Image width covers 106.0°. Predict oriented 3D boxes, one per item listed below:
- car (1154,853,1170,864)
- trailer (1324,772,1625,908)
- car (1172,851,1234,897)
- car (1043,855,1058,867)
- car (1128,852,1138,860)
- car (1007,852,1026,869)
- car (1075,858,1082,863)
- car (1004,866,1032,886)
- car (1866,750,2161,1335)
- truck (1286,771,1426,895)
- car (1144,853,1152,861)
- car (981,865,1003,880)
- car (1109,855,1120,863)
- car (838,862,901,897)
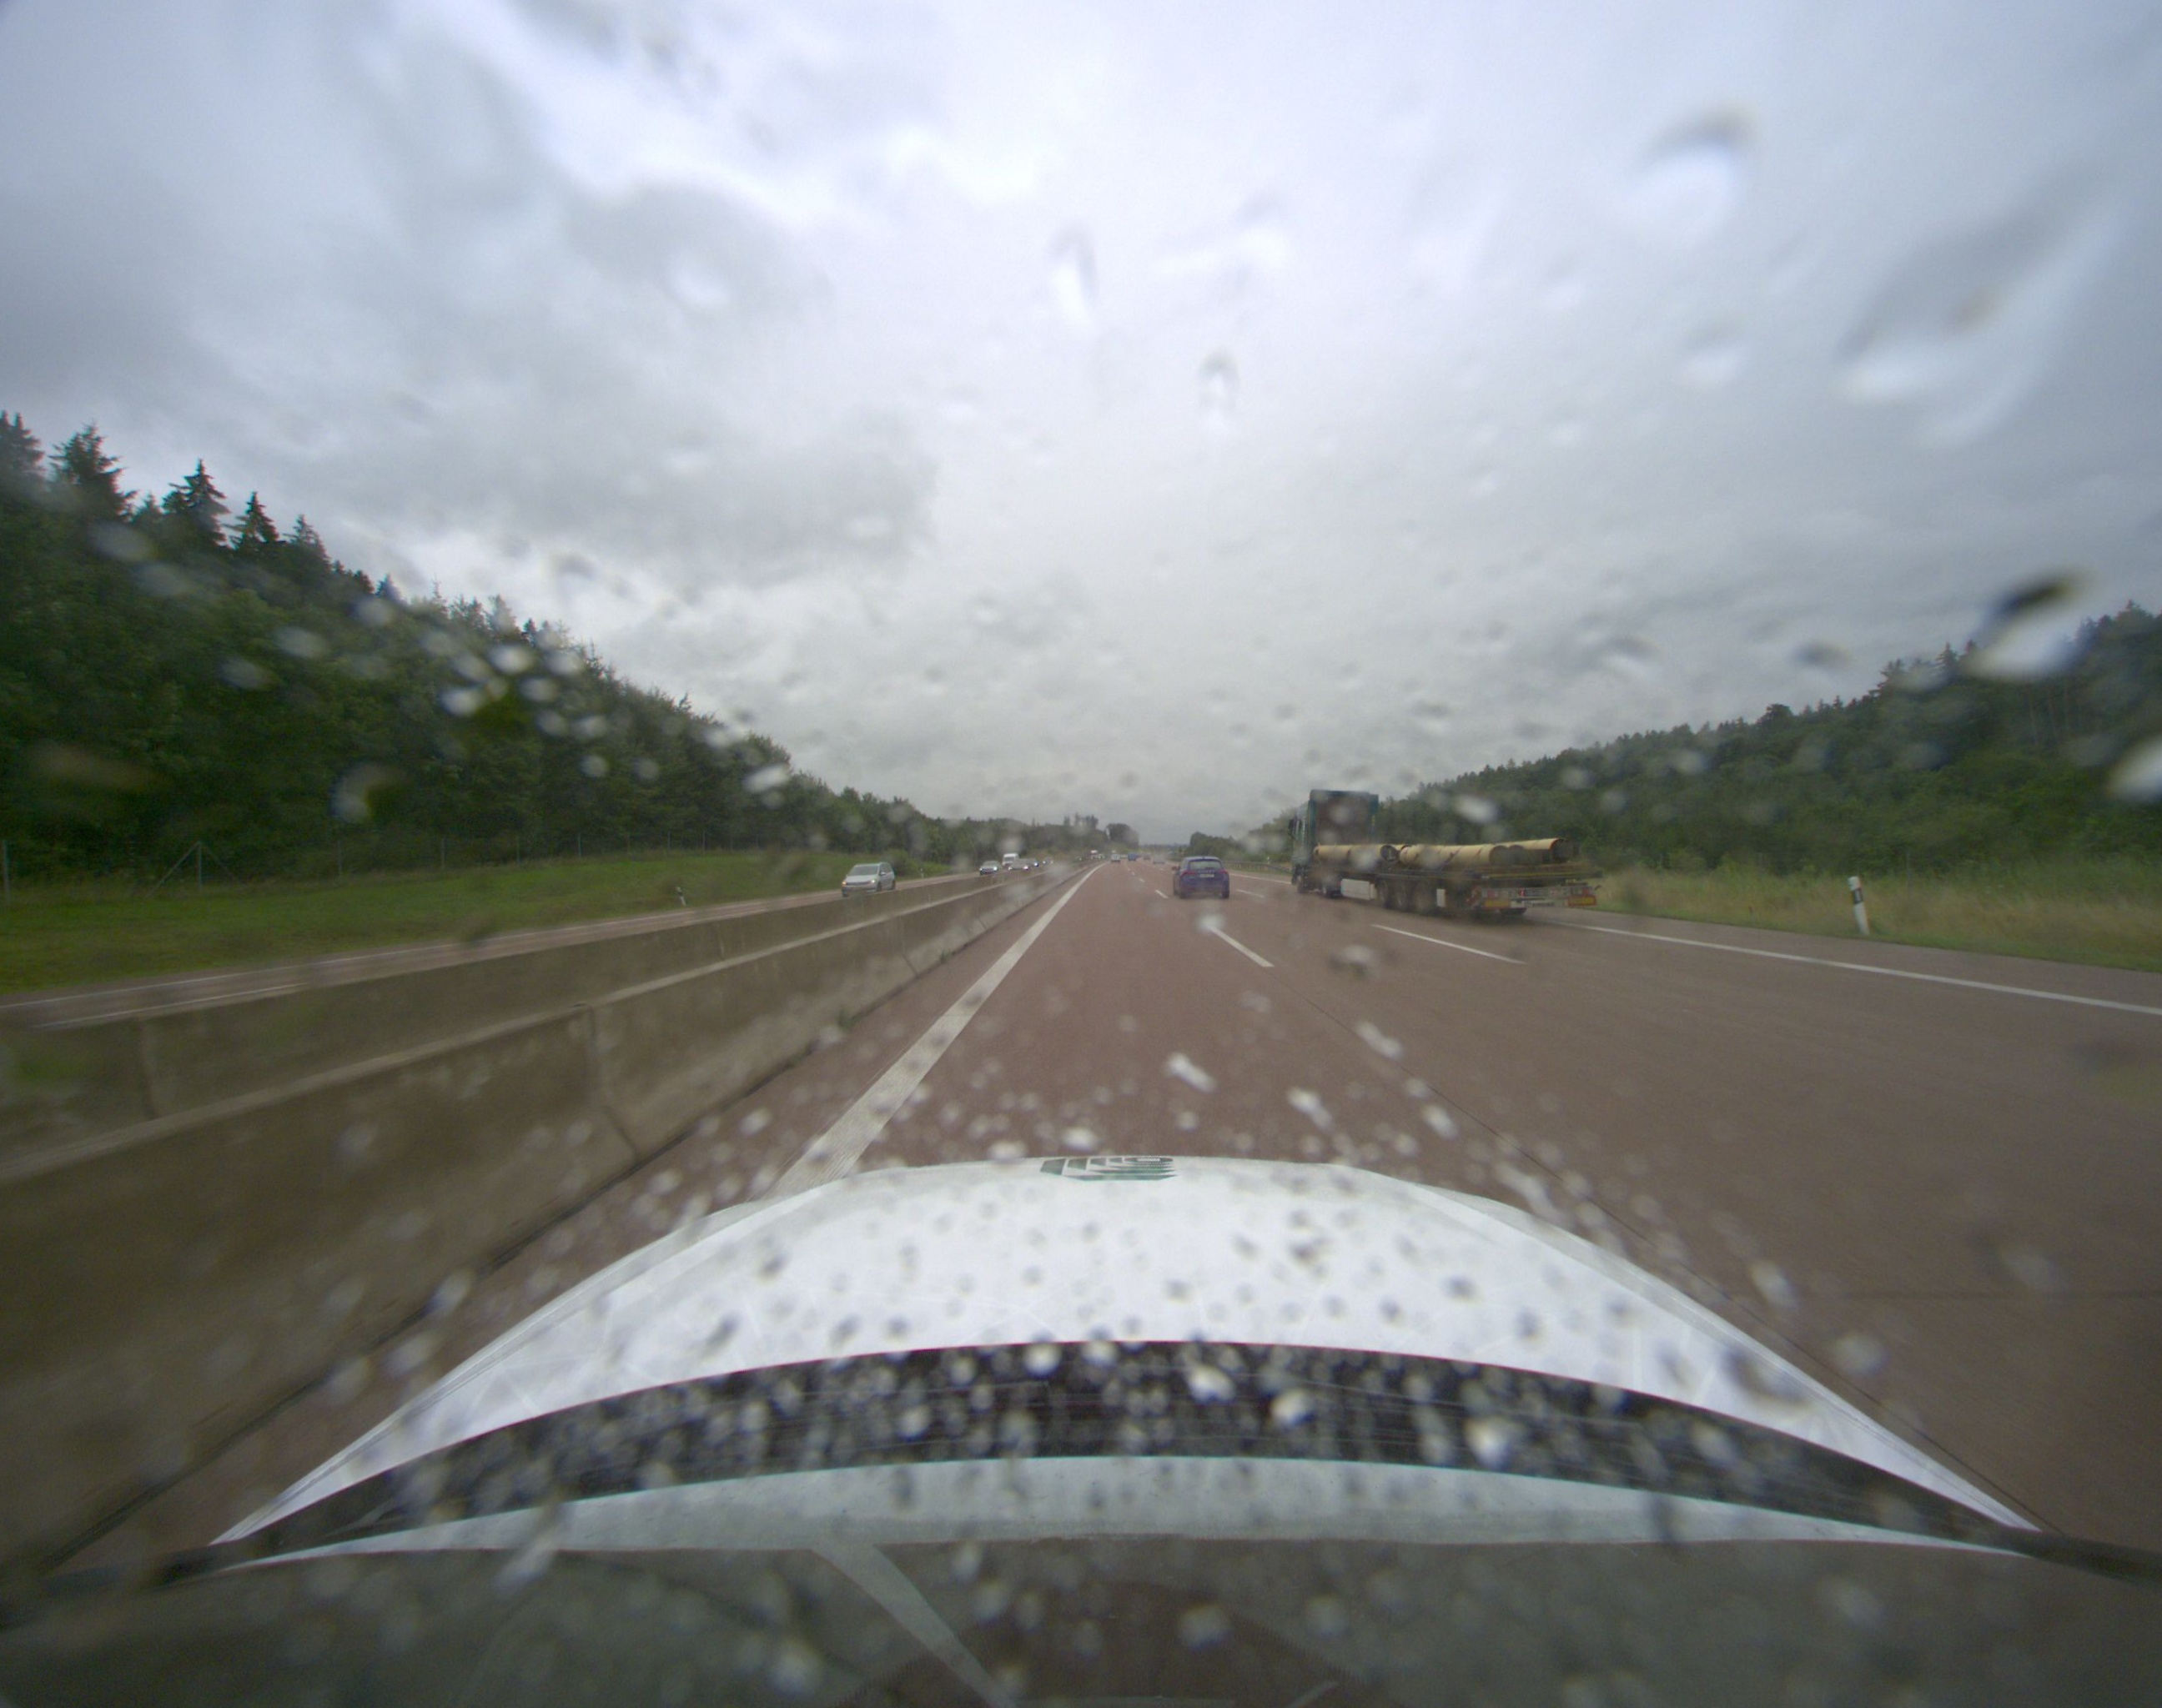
[{"bbox_3d":[13.089,0.784,131.535,2.314,1.750,4.878,0,-1,2],"label":"car"},{"bbox_3d":[9.501,-0.159,21.861,2.870,2.676,11.401,0,-1,2],"label":"trailer"},{"bbox_3d":[4.366,0.717,29.652,1.764,1.564,4.147,0,-1,2],"label":"car"},{"bbox_3d":[-4.979,1.168,132.782,1.985,1.827,4.689,-2,0,3],"label":"car"},{"bbox_3d":[12.593,0.496,198.852,2.314,1.750,4.878,0,-1,2],"label":"car"},{"bbox_3d":[-10.089,1.017,128.018,2.214,2.585,6.259,0,-1,3],"label":"car"},{"bbox_3d":[-0.739,1.948,239.901,1.709,1.582,4.318,-2,-1,2],"label":"car"},{"bbox_3d":[-5.465,1.925,71.283,1.851,1.707,6.164,0,-1,1],"label":"car"},{"bbox_3d":[3.869,0.468,0.133,1.986,1.593,5.821,0,-1,2],"label":"car"},{"bbox_3d":[9.742,-0.607,29.761,2.886,3.965,6.990,0,-1,1],"label":"truck"},{"bbox_3d":[17.842,0.846,217.619,1.986,2.014,4.001,0,-1,1],"label":"car"},{"bbox_3d":[-9.129,1.886,83.806,1.644,1.389,4.811,-4,0,1],"label":"car"},{"bbox_3d":[6.434,0.951,158.633,1.868,1.444,4.874,0,-1,-1],"label":"car"},{"bbox_3d":[-10.667,1.258,41.443,1.782,1.557,4.867,-3,0,1],"label":"car"}]
